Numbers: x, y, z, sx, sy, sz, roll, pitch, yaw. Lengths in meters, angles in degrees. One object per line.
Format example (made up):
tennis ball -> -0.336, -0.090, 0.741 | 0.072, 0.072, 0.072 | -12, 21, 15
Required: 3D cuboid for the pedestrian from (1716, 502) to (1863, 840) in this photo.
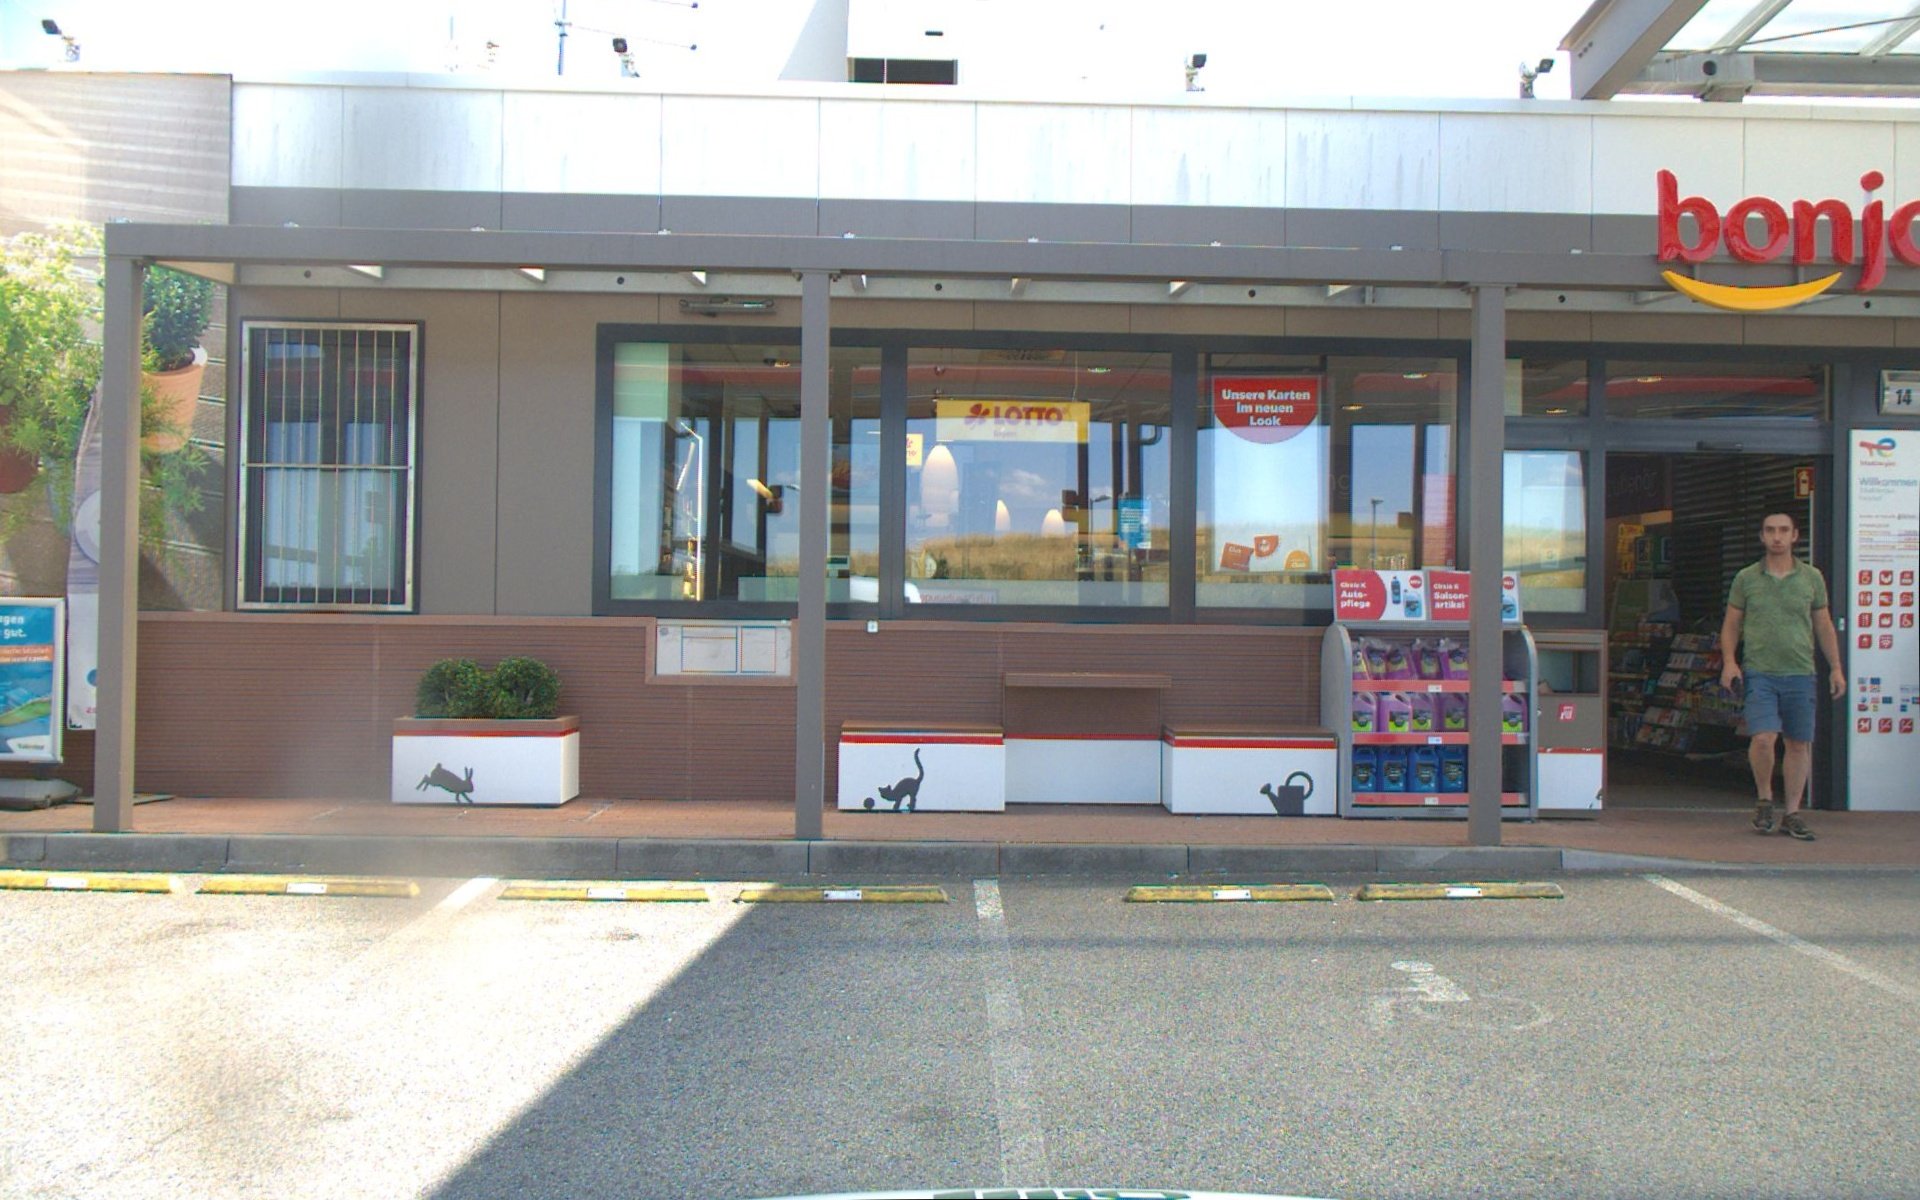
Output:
pedestrian -> 4.745, 0.383, 9.503 | 0.687, 1.829, 0.862 | 0, 0, 23
